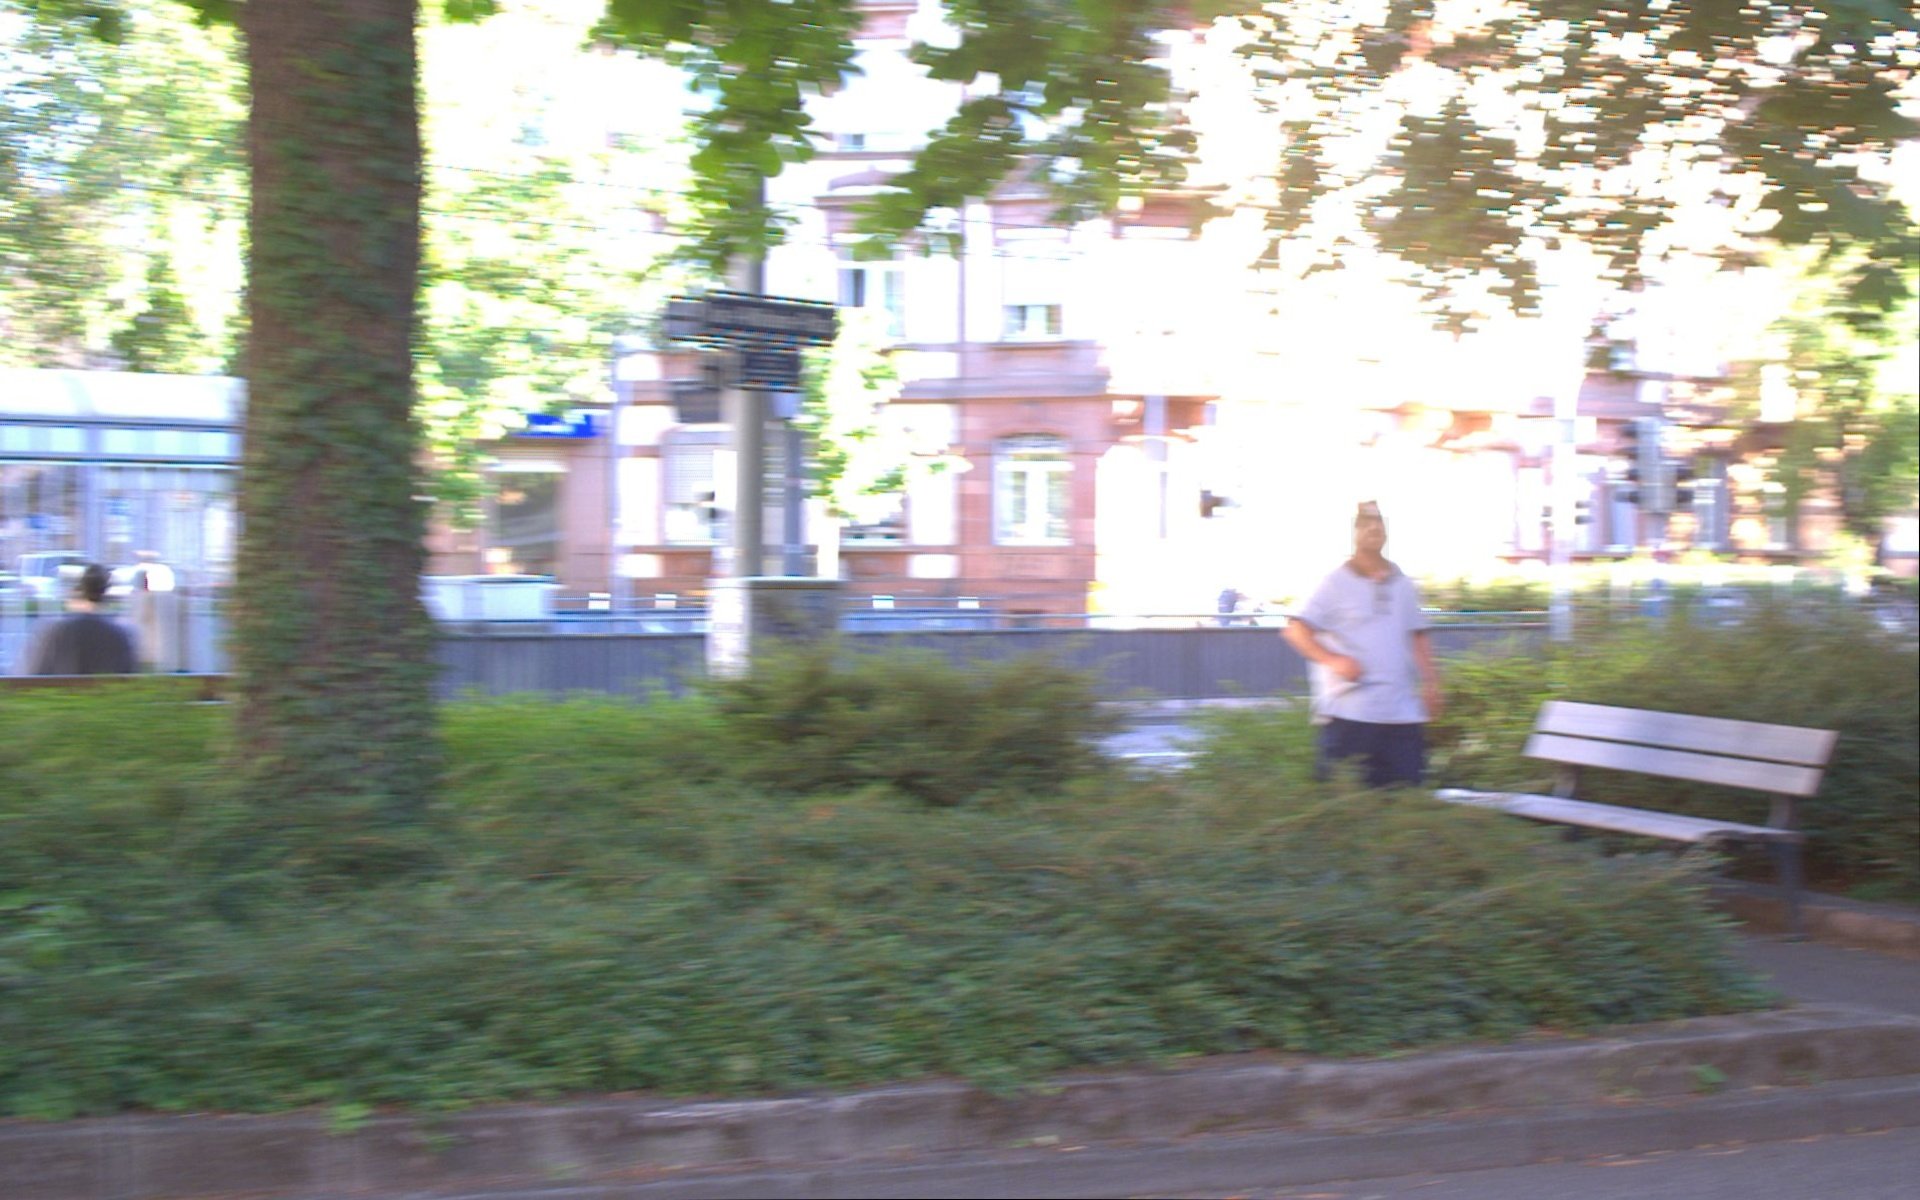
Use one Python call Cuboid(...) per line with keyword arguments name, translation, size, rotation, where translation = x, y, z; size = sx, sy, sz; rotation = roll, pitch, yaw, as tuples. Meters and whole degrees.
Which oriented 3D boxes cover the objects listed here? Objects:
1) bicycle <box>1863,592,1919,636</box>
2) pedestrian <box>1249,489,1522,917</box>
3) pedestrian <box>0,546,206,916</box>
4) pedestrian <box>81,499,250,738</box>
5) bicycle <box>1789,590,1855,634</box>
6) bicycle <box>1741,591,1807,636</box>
Cuboid(name="bicycle", translation=(18.724, 0.274, 68.525), size=(1.441, 0.859, 0.450), rotation=(0, 1, -23))
Cuboid(name="pedestrian", translation=(1.713, 0.398, 13.943), size=(0.915, 1.678, 0.780), rotation=(0, 1, -9))
Cuboid(name="pedestrian", translation=(-4.137, 0.587, 16.113), size=(0.897, 1.678, 0.819), rotation=(0, 1, 15))
Cuboid(name="pedestrian", translation=(-6.447, 0.140, 27.889), size=(1.017, 1.891, 0.912), rotation=(0, 1, -41))
Cuboid(name="bicycle", translation=(16.804, 0.233, 67.003), size=(1.219, 0.859, 0.450), rotation=(0, 1, -23))
Cuboid(name="bicycle", translation=(15.733, 0.268, 66.453), size=(1.219, 0.859, 0.450), rotation=(0, 1, -23))
